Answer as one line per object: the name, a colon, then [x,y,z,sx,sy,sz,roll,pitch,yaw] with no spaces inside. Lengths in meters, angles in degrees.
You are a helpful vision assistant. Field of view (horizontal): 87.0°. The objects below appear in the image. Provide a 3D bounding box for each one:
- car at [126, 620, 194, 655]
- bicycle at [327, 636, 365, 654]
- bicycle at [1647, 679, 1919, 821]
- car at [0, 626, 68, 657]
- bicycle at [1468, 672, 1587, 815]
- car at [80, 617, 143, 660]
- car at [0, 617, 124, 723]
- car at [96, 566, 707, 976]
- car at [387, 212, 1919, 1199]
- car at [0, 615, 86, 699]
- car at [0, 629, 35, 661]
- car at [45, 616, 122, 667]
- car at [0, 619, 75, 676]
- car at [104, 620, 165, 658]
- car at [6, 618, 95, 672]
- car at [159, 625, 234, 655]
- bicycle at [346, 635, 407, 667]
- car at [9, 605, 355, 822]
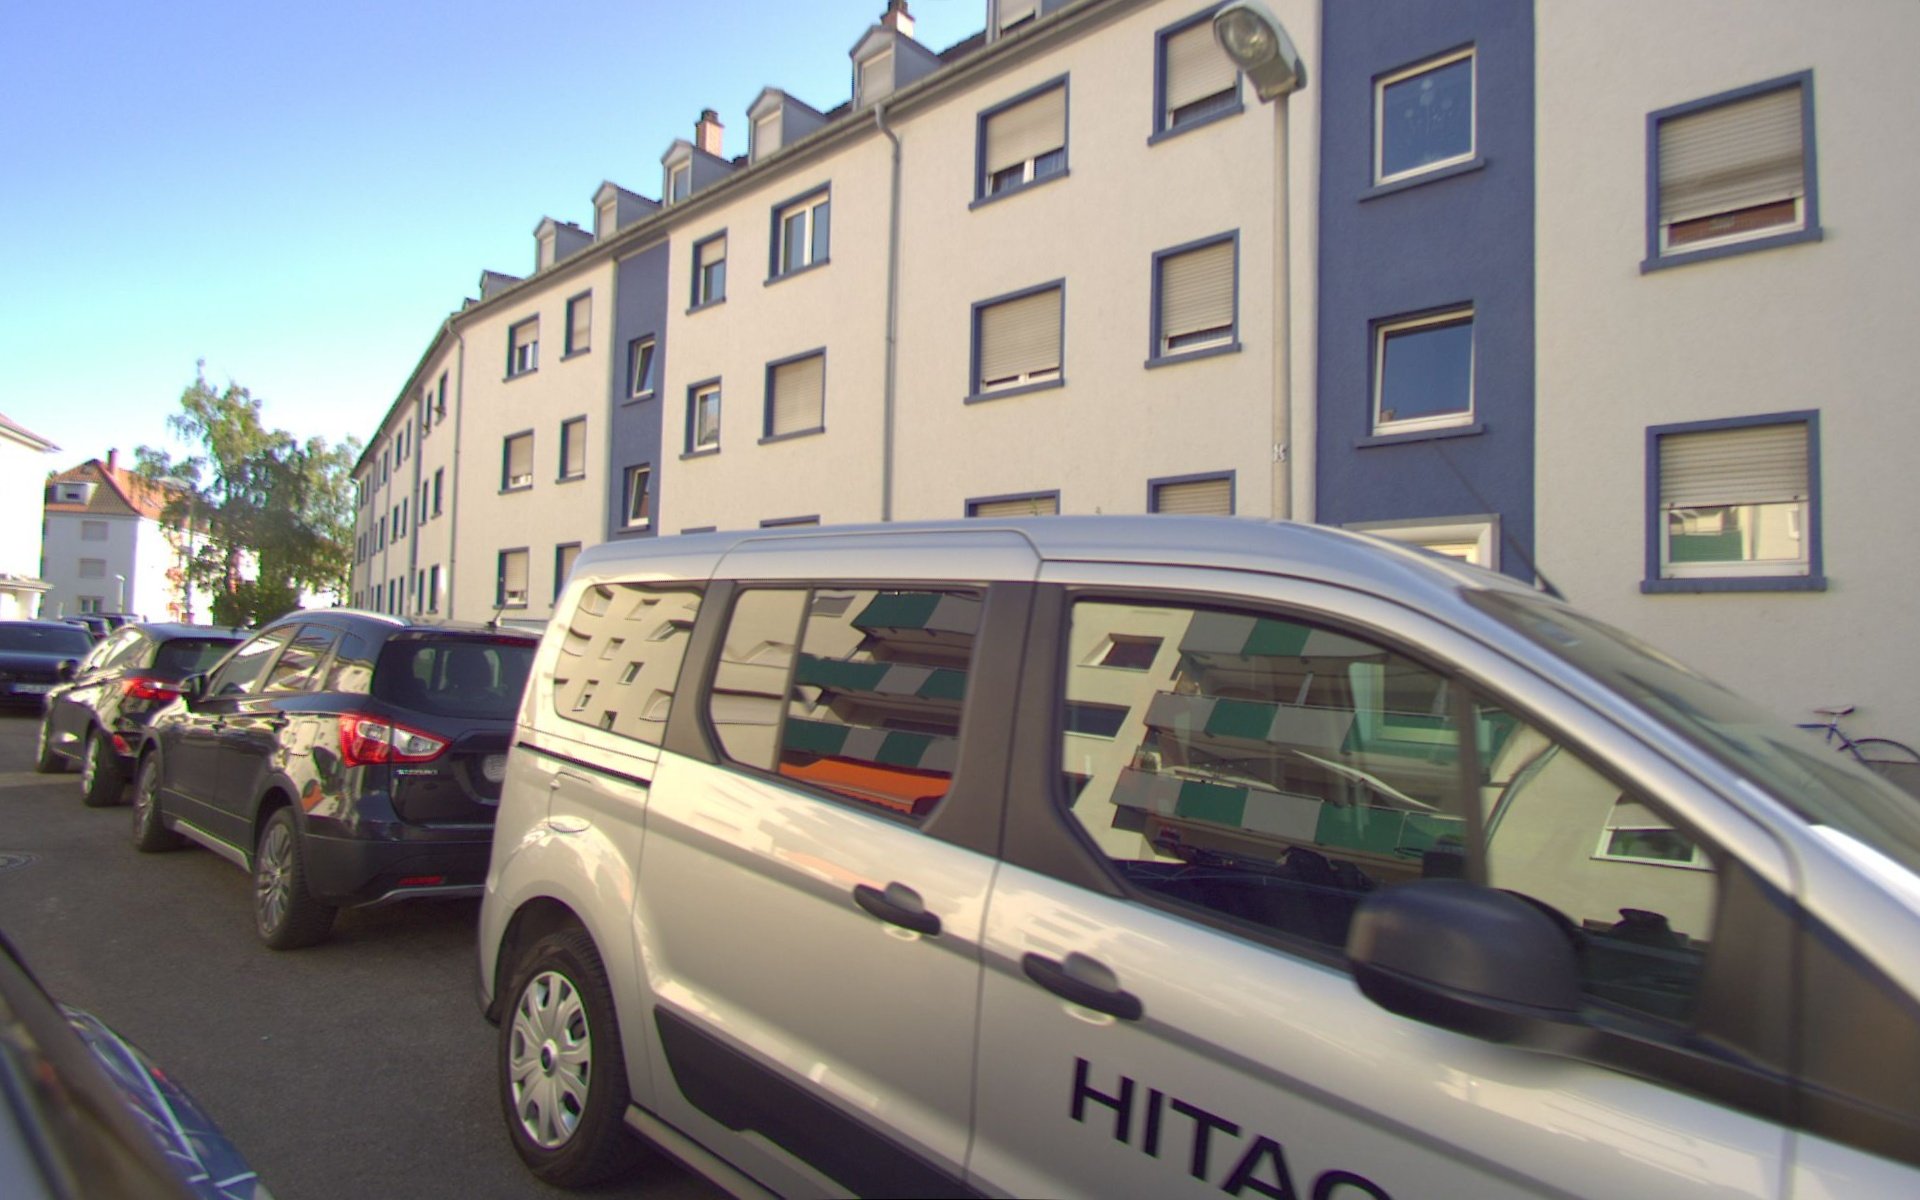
car: [-41.070,1.947,52.039,1.614,1.587,3.659,6,-5,-21]
bicycle: [-27.763,2.042,45.781,1.435,0.770,0.310,0,-1,-35]
bicycle: [6.883,1.182,8.249,2.074,0.969,0.494,-1,-1,42]
car: [-47.739,2.140,52.047,1.728,1.440,4.104,5,-5,-27]
bicycle: [4.967,1.180,8.797,0.500,0.969,2.046,-1,-1,41]
car: [-36.029,1.650,43.044,1.616,1.653,3.657,7,-6,-35]
car: [-14.936,1.044,16.050,4.396,1.470,1.879,-1,-7,43]
car: [-3.493,0.783,5.976,4.162,1.603,1.656,-1,-8,41]
car: [0.702,0.644,2.251,4.947,1.844,1.781,-1,-7,41]
car: [-19.221,1.124,20.670,1.721,1.528,3.985,8,-7,-44]
car: [-44.478,2.025,46.573,1.728,1.440,4.480,5,-5,-29]
car: [-32.747,1.568,37.902,1.615,1.715,3.657,7,-6,-34]
car: [-26.156,1.318,28.391,1.693,1.422,3.990,8,-6,-38]
car: [-38.773,1.868,47.618,1.615,1.587,3.658,7,-6,-31]
car: [-29.663,1.468,33.100,1.616,1.559,3.657,7,-6,-35]
car: [-42.875,2.264,56.926,1.551,1.436,3.986,4,-5,-9]
bicycle: [-19.279,1.665,33.437,1.707,0.997,0.463,0,-1,-35]
car: [-7.034,0.916,9.028,3.701,1.530,1.627,-1,-7,41]
